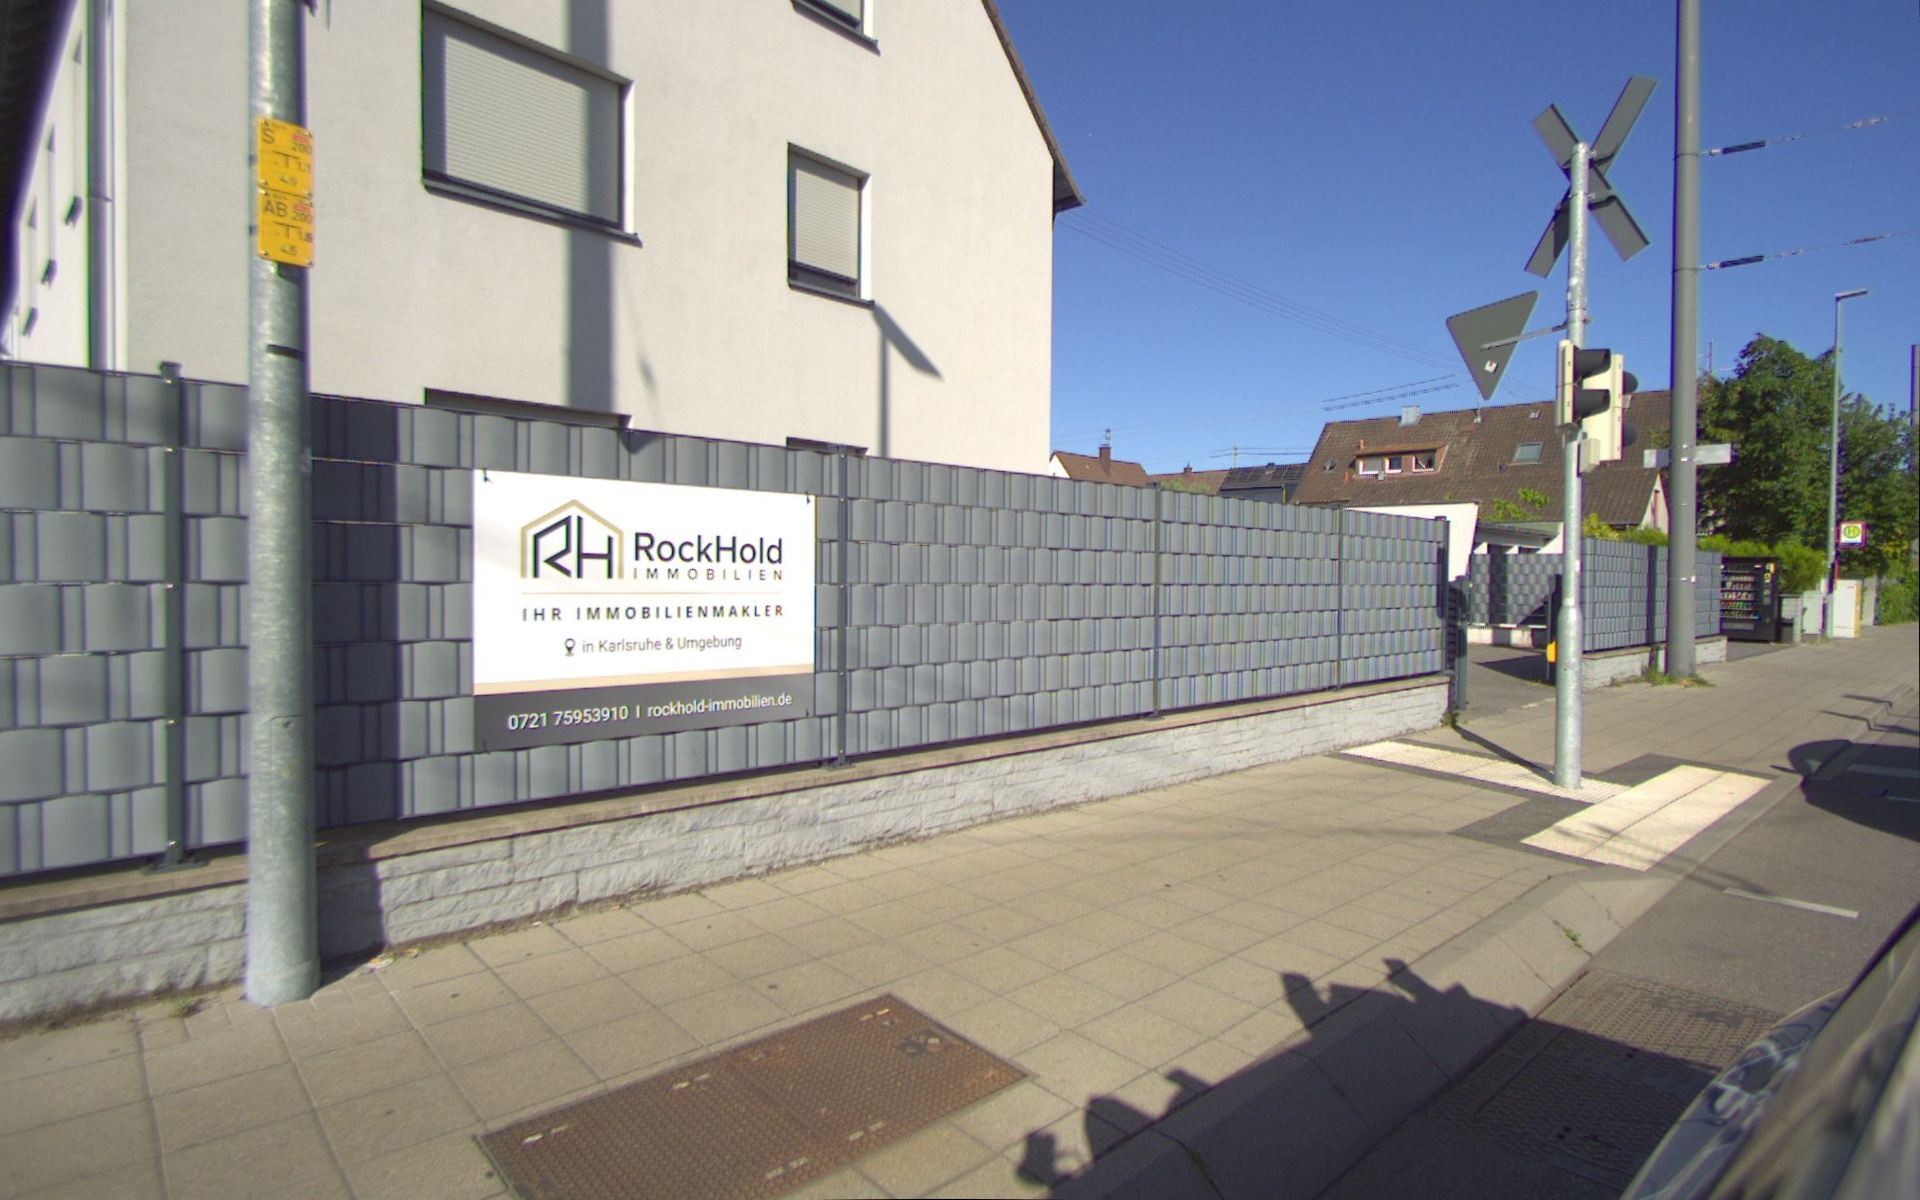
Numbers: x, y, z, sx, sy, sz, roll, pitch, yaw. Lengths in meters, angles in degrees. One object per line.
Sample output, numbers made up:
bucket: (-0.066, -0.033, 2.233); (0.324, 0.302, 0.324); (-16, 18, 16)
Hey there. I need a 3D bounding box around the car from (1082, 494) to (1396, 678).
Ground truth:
car: (4.194, -0.290, 16.194); (1.960, 2.461, 5.001); (-2, 2, -27)
